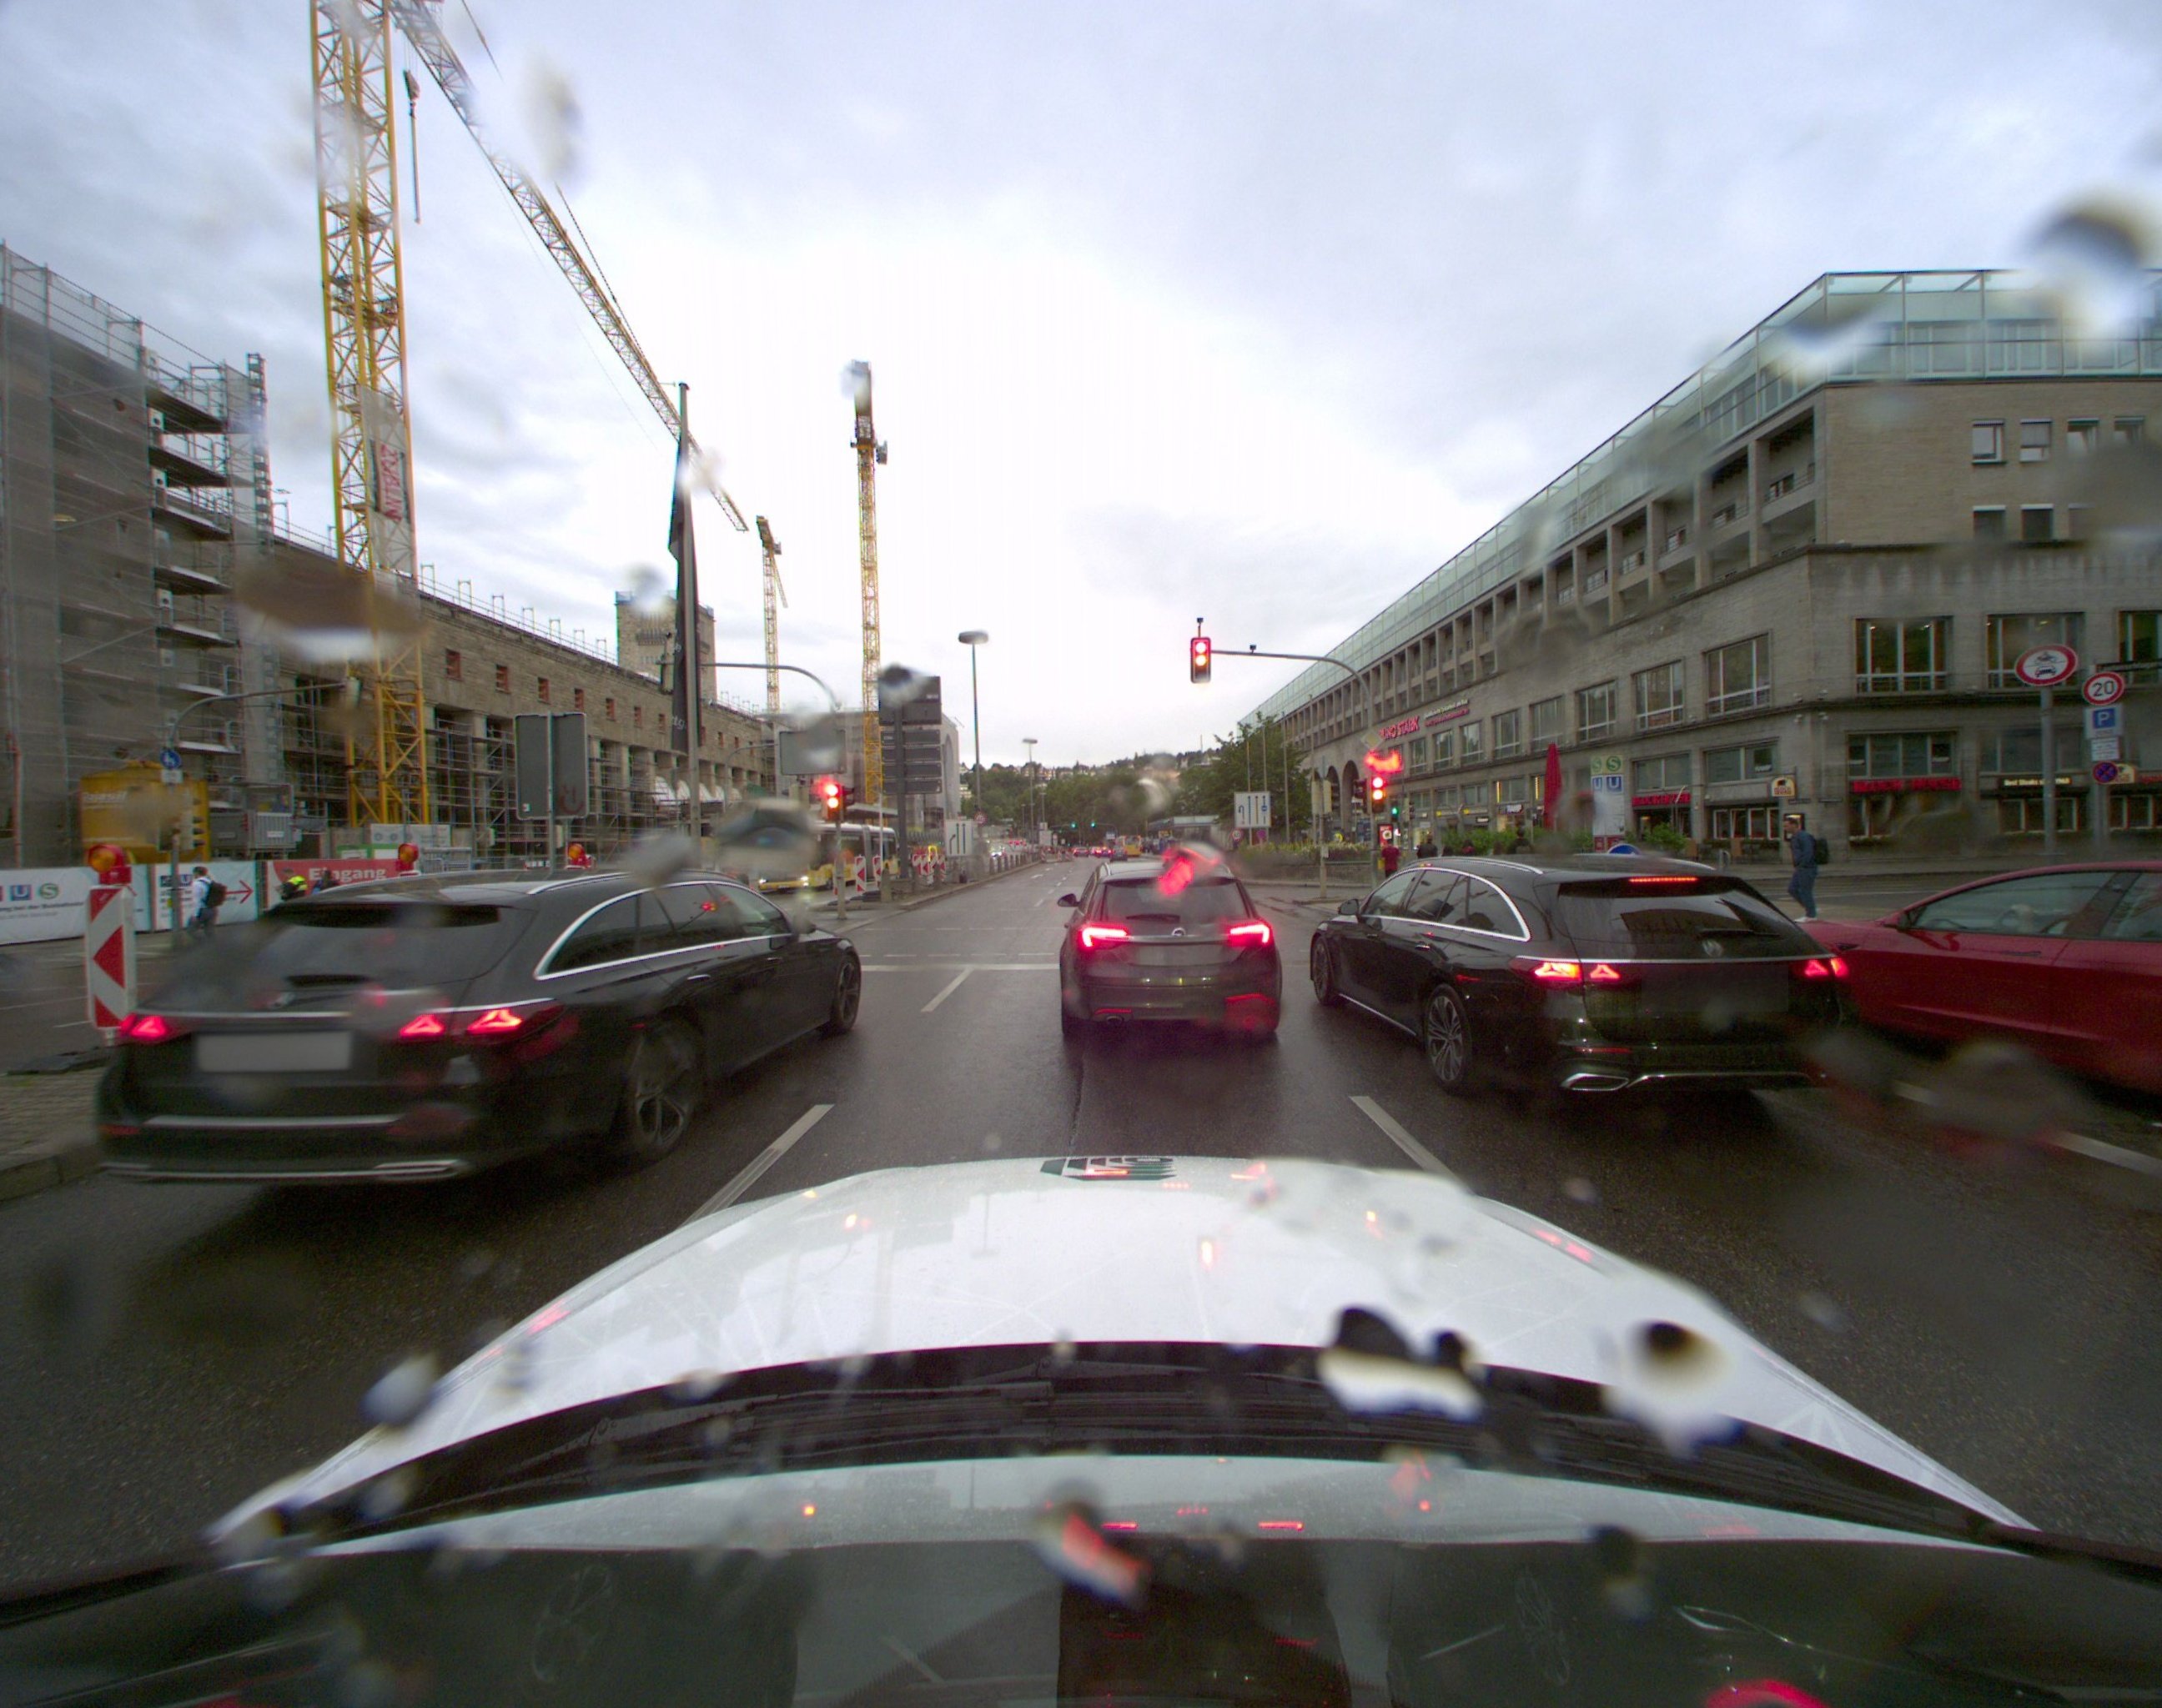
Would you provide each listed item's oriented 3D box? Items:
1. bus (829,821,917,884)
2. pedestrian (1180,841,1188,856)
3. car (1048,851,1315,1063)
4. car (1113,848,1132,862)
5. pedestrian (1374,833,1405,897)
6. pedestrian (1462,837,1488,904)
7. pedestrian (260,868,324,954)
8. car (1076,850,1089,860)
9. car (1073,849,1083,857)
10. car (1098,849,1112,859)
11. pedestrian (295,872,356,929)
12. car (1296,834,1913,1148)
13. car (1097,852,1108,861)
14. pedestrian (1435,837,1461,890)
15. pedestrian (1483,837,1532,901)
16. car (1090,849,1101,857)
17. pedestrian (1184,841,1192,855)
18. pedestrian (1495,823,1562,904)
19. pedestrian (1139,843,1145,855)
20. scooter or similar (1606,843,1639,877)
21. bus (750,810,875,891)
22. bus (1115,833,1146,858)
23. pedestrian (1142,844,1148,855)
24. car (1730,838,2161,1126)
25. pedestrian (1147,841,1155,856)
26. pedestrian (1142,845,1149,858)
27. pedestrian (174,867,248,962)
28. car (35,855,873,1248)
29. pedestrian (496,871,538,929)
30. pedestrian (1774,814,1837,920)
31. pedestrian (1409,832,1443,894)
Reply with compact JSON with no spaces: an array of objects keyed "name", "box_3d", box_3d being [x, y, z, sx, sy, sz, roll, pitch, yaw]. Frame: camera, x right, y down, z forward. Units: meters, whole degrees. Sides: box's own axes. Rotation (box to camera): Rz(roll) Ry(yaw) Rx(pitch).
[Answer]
[{"name":"bus","box_3d":[-12.976,-0.076,51.870,2.658,3.602,10.215,0,0,2]},{"name":"pedestrian","box_3d":[12.034,-0.624,95.181,0.761,1.690,0.824,0,-1,-3]},{"name":"car","box_3d":[0.756,0.738,7.749,1.868,1.486,4.001,0,0,1]},{"name":"car","box_3d":[4.165,0.088,82.135,1.839,1.398,3.668,0,0,2]},{"name":"pedestrian","box_3d":[8.661,0.303,22.880,0.563,1.752,0.684,-1,-1,44]},{"name":"pedestrian","box_3d":[10.575,0.438,21.843,0.477,1.751,0.670,-4,-1,30]},{"name":"pedestrian","box_3d":[-17.420,1.242,17.994,0.576,1.836,0.820,0,-1,2]},{"name":"car","box_3d":[0.244,0.137,121.353,1.839,1.398,3.565,0,0,2]},{"name":"car","box_3d":[-0.554,-0.134,150.298,1.752,1.398,3.565,0,0,2]},{"name":"car","box_3d":[3.303,-0.021,113.278,1.748,1.398,4.647,0,0,-1]},{"name":"pedestrian","box_3d":[-21.587,1.313,23.287,0.912,1.563,0.899,0,-1,-2]},{"name":"car","box_3d":[3.144,0.671,6.252,1.787,1.501,4.628,0,0,0]},{"name":"car","box_3d":[3.354,0.330,127.948,1.747,1.398,4.402,0,0,1]},{"name":"pedestrian","box_3d":[9.997,0.262,22.174,0.625,1.428,0.492,-1,-1,24]},{"name":"pedestrian","box_3d":[11.148,0.393,21.318,0.791,1.626,0.899,0,-1,-2]},{"name":"car","box_3d":[2.606,-0.201,142.328,1.839,1.398,3.565,0,0,2]},{"name":"pedestrian","box_3d":[12.376,-0.684,94.093,0.761,1.690,0.824,0,-1,-3]},{"name":"pedestrian","box_3d":[10.210,0.218,18.607,1.093,1.751,0.653,-3,-1,-1]},{"name":"pedestrian","box_3d":[11.679,-0.962,156.005,1.194,2.149,1.229,0,-1,3]},{"name":"scooter or similar","box_3d":[19.367,0.199,29.134,0.290,1.189,1.014,0,-1,-17]},{"name":"bus","box_3d":[-13.278,-0.126,41.512,2.658,3.602,10.243,0,0,2]},{"name":"bus","box_3d":[7.205,-1.113,120.949,4.158,3.469,14.659,0,0,2]},{"name":"pedestrian","box_3d":[12.421,-0.953,158.640,1.194,2.149,1.229,0,-1,3]},{"name":"car","box_3d":[6.515,0.657,4.789,1.868,1.486,4.527,0,0,1]},{"name":"pedestrian","box_3d":[11.354,-0.869,131.736,1.194,2.435,1.229,0,-1,3]},{"name":"pedestrian","box_3d":[11.561,-0.442,145.506,1.194,2.149,1.229,0,-1,3]},{"name":"pedestrian","box_3d":[-17.773,1.218,16.654,0.798,1.890,0.618,0,-1,-7]},{"name":"car","box_3d":[-2.948,0.754,5.357,1.848,1.469,4.589,0,0,2]},{"name":"pedestrian","box_3d":[-15.690,1.255,22.651,0.864,1.561,0.792,-1,-1,42]},{"name":"pedestrian","box_3d":[12.456,0.219,14.010,0.770,1.756,0.507,-1,-1,45]},{"name":"pedestrian","box_3d":[9.708,0.241,22.910,0.753,1.717,0.466,0,-1,-2]}]
